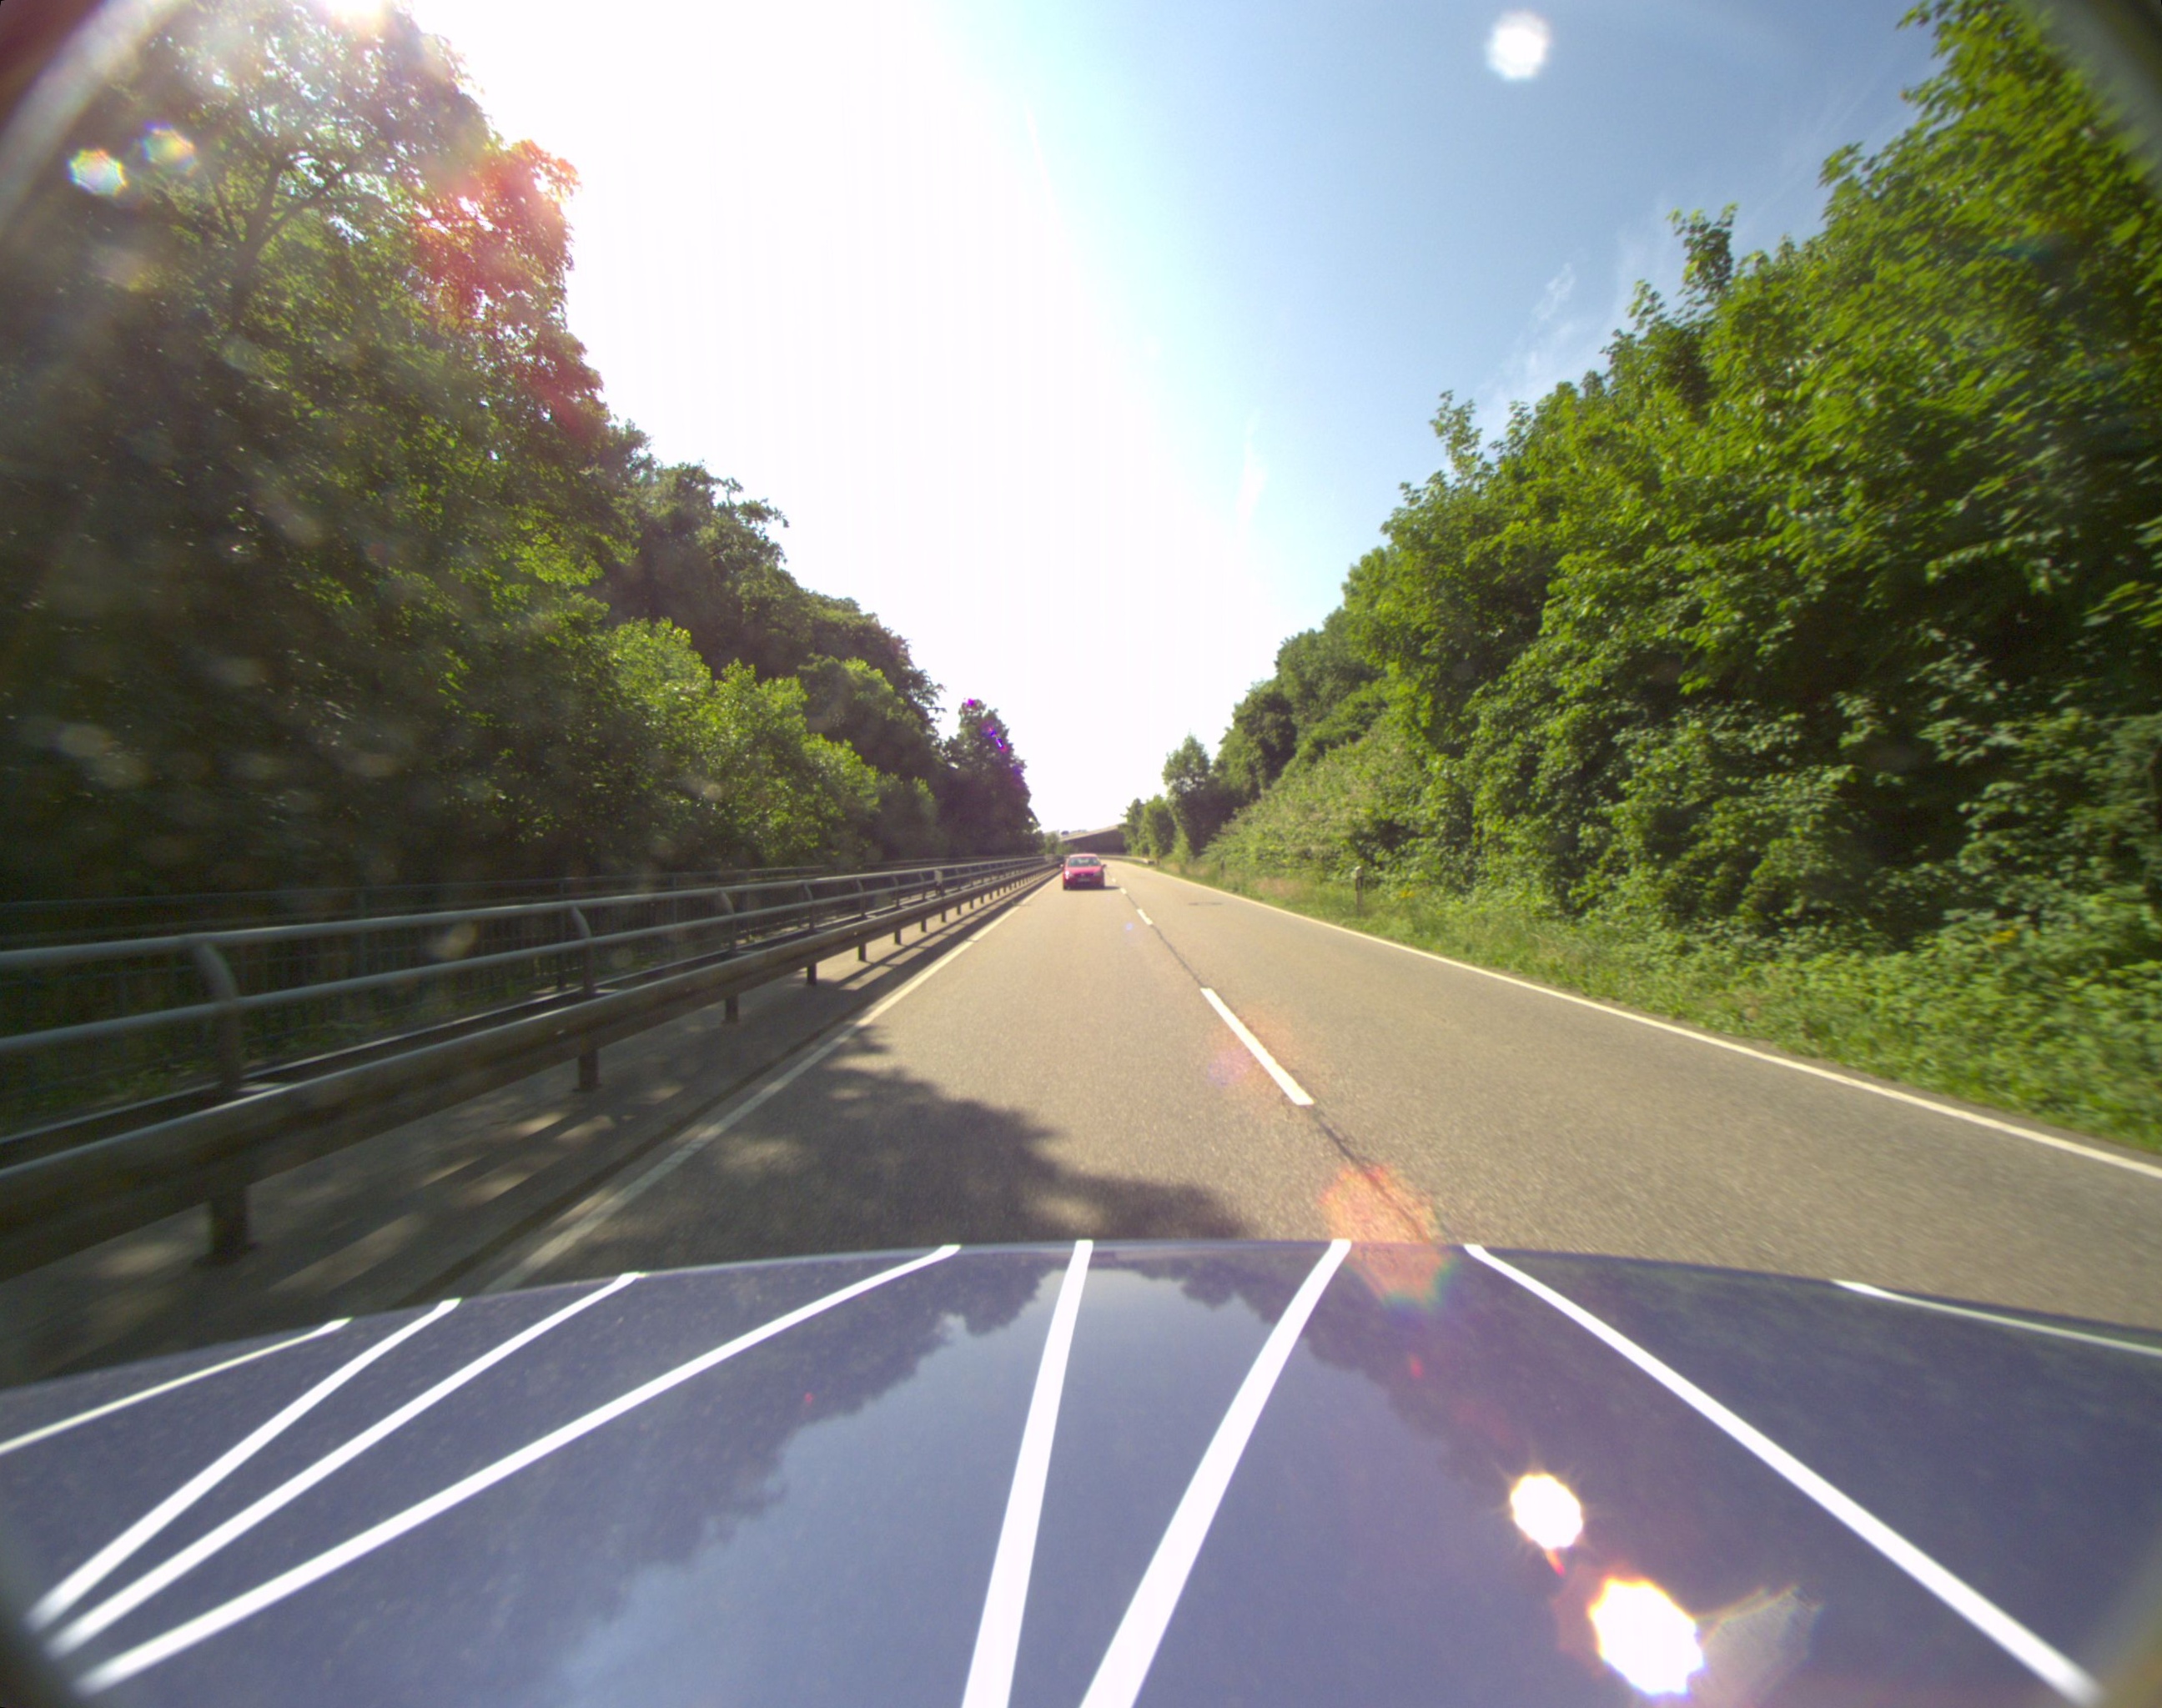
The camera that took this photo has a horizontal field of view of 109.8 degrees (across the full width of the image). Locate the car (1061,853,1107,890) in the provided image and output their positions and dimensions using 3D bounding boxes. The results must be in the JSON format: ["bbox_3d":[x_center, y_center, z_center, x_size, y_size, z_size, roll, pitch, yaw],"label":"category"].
[{"bbox_3d":[0.198,0.726,33.438,1.816,1.488,4.286,-1,0,2],"label":"car"}]
